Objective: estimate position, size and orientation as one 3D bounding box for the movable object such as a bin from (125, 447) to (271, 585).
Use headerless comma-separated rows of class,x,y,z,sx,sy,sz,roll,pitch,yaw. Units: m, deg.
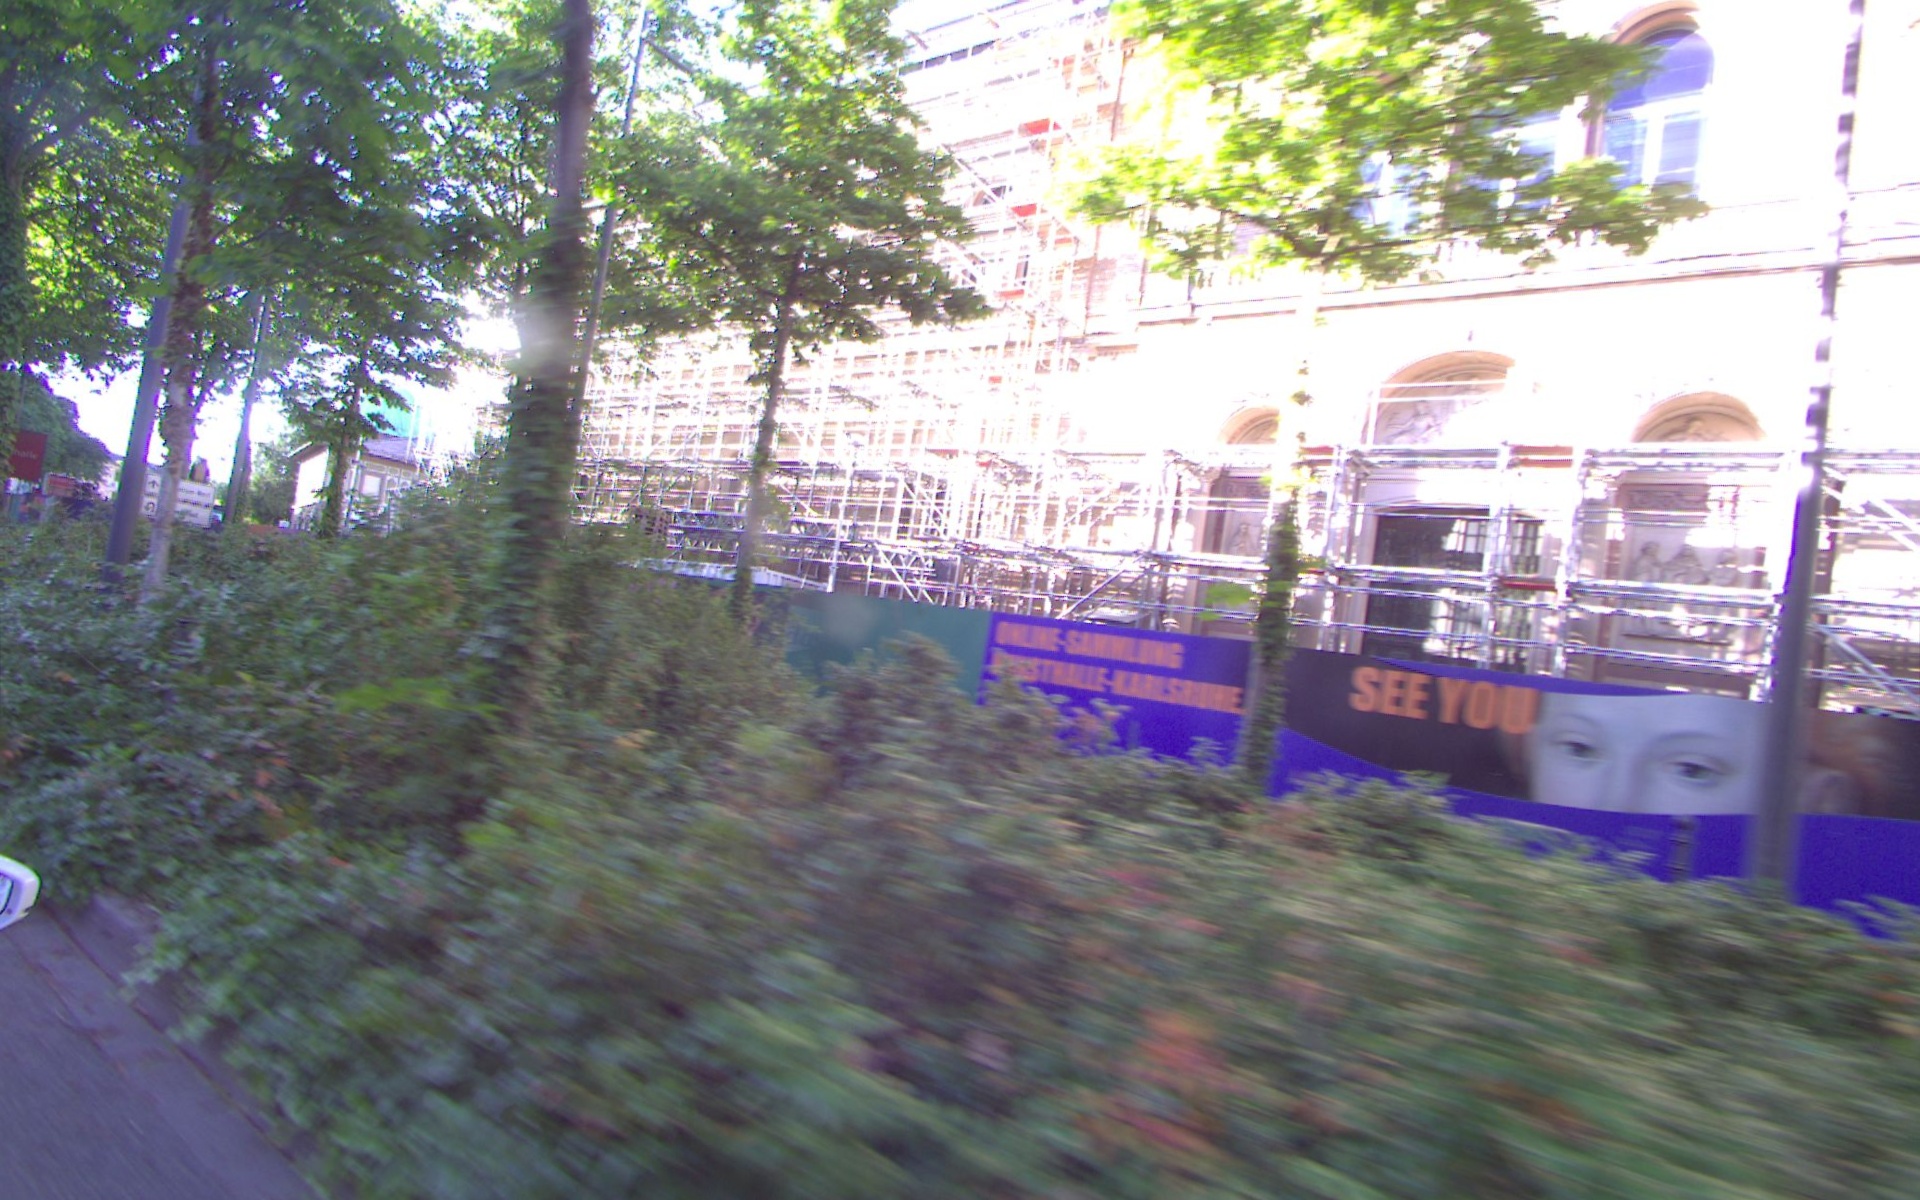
movable object such as a bin,-30.989,-3.351,40.755,3.301,4.590,7.806,10,-3,-44
